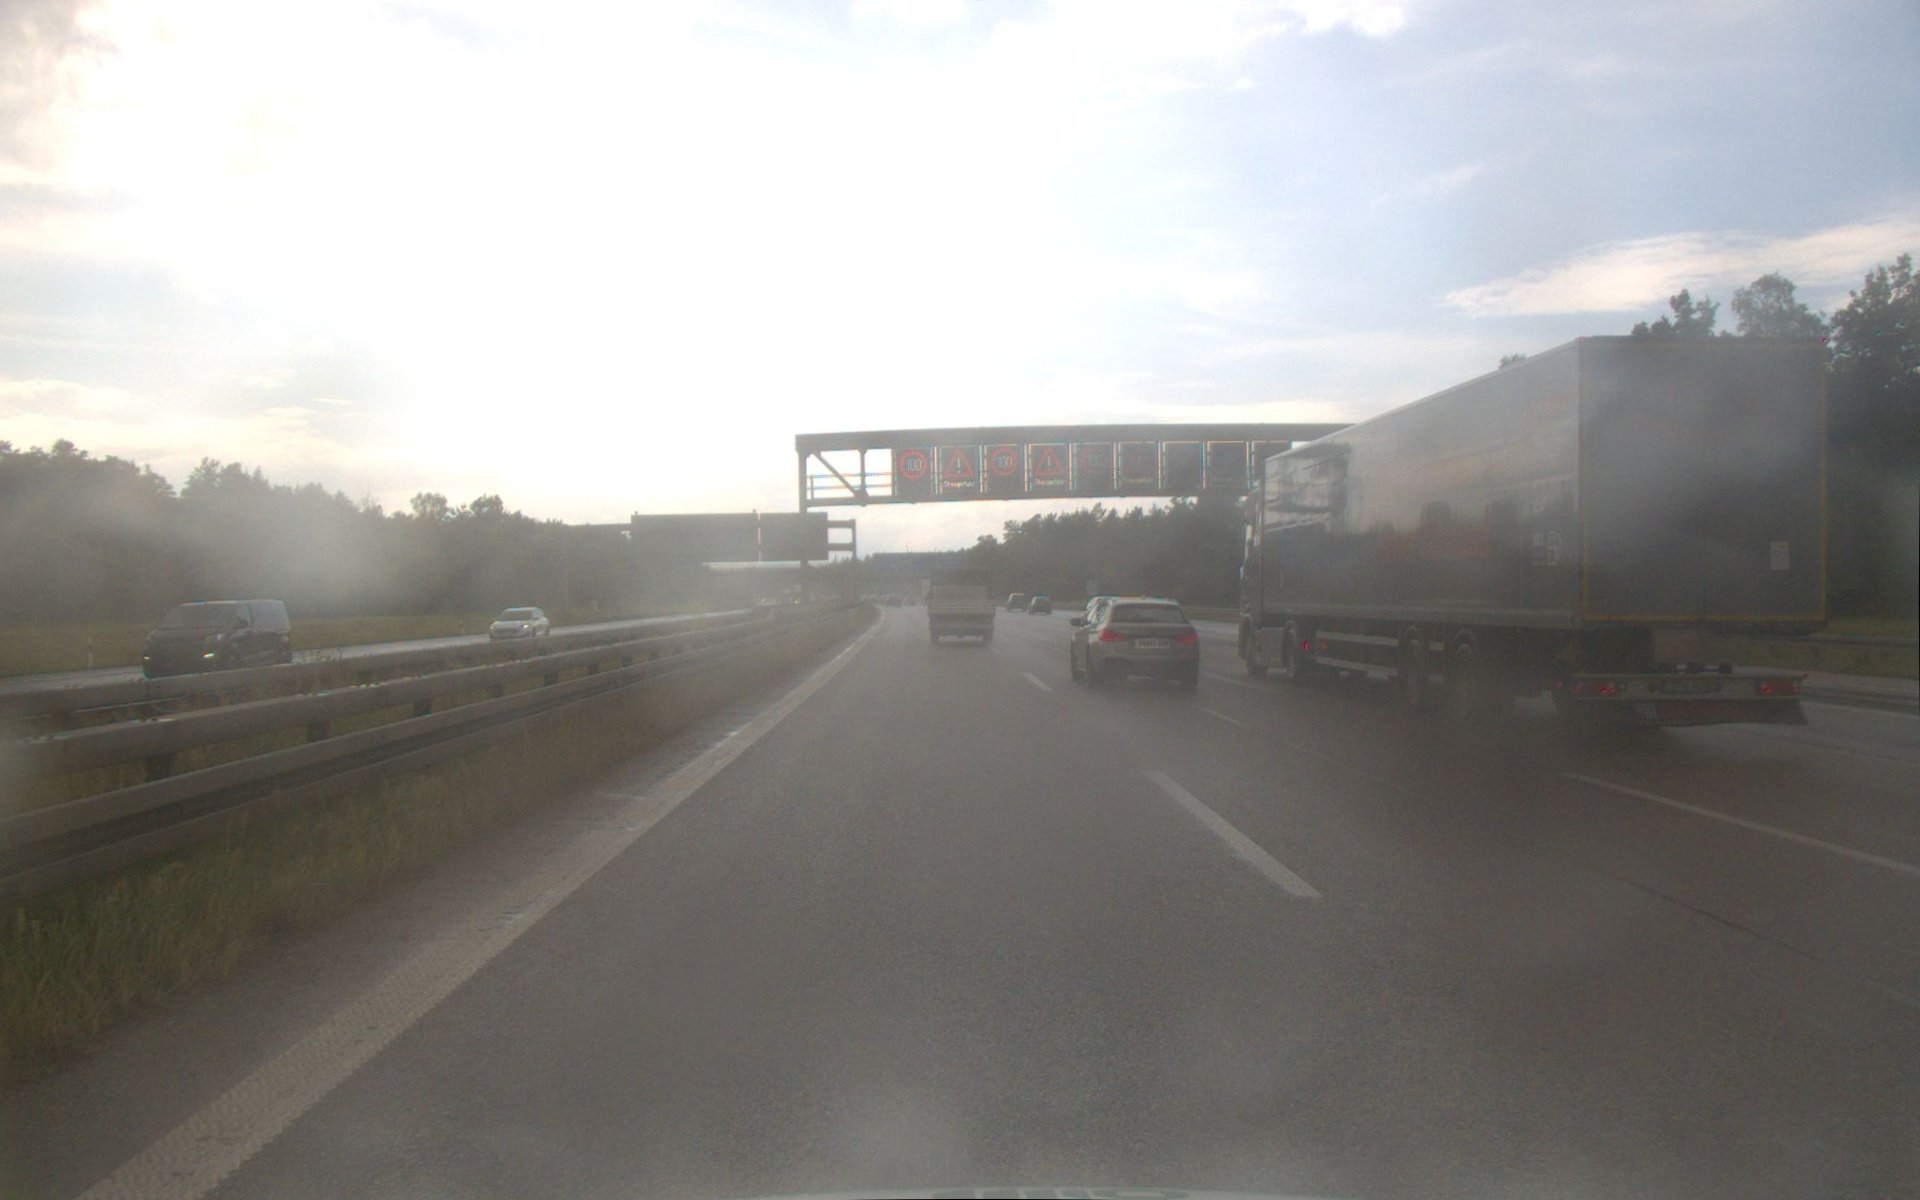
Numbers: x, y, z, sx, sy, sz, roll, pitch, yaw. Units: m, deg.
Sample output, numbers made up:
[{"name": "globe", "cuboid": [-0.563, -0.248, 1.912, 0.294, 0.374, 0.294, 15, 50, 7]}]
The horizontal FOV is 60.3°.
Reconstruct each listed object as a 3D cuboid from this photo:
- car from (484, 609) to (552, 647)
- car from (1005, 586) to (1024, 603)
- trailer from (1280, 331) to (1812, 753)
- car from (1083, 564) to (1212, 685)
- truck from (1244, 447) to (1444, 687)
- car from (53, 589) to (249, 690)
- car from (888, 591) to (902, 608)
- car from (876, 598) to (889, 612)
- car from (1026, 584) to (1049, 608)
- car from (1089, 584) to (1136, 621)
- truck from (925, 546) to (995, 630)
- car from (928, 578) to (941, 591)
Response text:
[{"name": "car", "cuboid": [-18.549, 1.154, 69.647, 1.812, 1.470, 4.319, -2, 0, -2]}, {"name": "car", "cuboid": [5.545, -0.526, 168.481, 1.705, 1.718, 3.999, 0, 0, -1]}, {"name": "trailer", "cuboid": [6.977, -0.609, 22.716, 2.276, 4.071, 13.408, 0, 0, -1]}, {"name": "car", "cuboid": [3.161, 0.368, 28.738, 2.034, 1.918, 5.014, 0, 0, 4]}, {"name": "truck", "cuboid": [6.775, -0.569, 29.855, 2.247, 3.935, 5.391, 0, 0, -1]}, {"name": "car", "cuboid": [-17.498, 0.787, 36.068, 1.953, 1.950, 4.723, -3, 0, -1]}, {"name": "car", "cuboid": [-8.233, -0.081, 209.910, 1.584, 2.049, 3.999, 1, 1, -2]}, {"name": "car", "cuboid": [-12.012, 0.710, 256.834, 1.758, 2.049, 4.000, 1, 1, 0]}, {"name": "car", "cuboid": [6.640, -0.366, 141.963, 1.952, 2.049, 4.001, 1, 0, 2]}, {"name": "car", "cuboid": [6.368, 0.099, 69.333, 1.792, 1.492, 4.002, 0, 0, 3]}, {"name": "truck", "cuboid": [0.055, -0.387, 52.143, 2.093, 2.532, 5.314, 0, 1, 1]}, {"name": "car", "cuboid": [-3.962, -2.485, 260.770, 1.953, 2.049, 3.999, 1, 1, -1]}]
